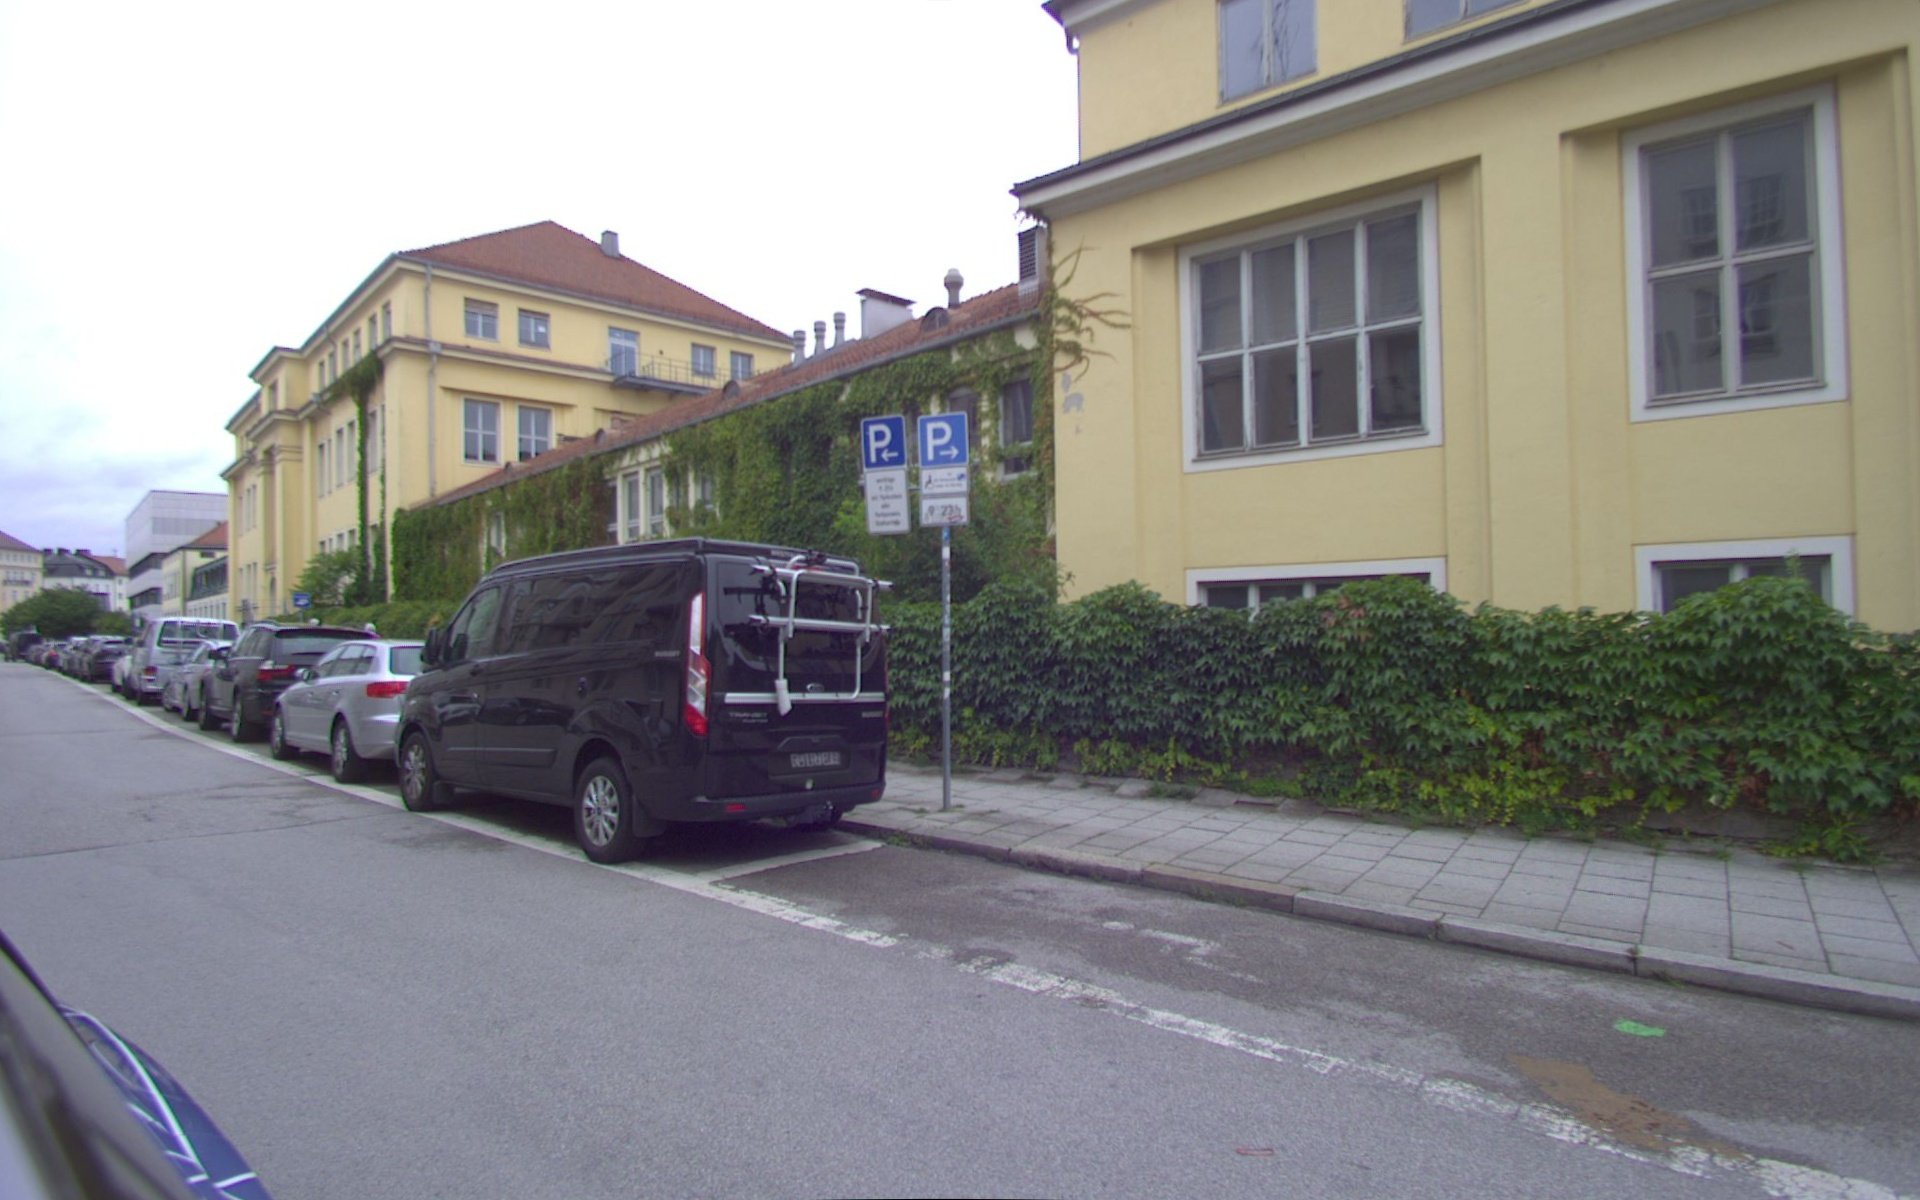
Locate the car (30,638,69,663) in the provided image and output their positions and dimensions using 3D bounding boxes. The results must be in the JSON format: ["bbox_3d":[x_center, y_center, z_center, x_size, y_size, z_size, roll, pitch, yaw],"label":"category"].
[{"bbox_3d":[-61.158,3.393,67.977,1.748,1.567,4.213,5,-5,-43],"label":"car"}]

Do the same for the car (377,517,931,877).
[{"bbox_3d":[-2.575,0.668,7.875,4.619,1.994,1.905,-3,-5,41],"label":"car"}]

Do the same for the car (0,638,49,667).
[{"bbox_3d":[-86.985,4.848,93.865,6.887,2.571,2.811,-3,-3,40],"label":"car"}]

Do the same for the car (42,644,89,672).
[{"bbox_3d":[-48.321,3.128,54.646,1.713,1.450,3.782,5,-5,-43],"label":"car"}]

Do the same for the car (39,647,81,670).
[{"bbox_3d":[-57.001,3.701,64.092,1.790,1.408,4.023,4,-5,-43],"label":"car"}]

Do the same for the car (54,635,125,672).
[{"bbox_3d":[-36.277,2.239,42.126,4.602,1.419,1.753,-3,-6,44],"label":"car"}]

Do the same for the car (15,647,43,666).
[{"bbox_3d":[-79.002,4.780,85.848,1.650,1.529,3.950,2,-4,-44],"label":"car"}]

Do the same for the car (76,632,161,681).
[{"bbox_3d":[-28.188,1.886,33.872,4.222,1.492,1.697,-3,-7,45],"label":"car"}]

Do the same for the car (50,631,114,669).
[{"bbox_3d":[-41.277,2.354,47.543,4.301,1.653,1.762,-3,-6,44],"label":"car"}]

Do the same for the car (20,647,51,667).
[{"bbox_3d":[-71.394,4.390,78.128,1.650,1.529,3.950,2,-4,-44],"label":"car"}]

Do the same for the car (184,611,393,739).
[{"bbox_3d":[-10.131,1.087,15.120,1.682,1.619,4.493,5,-6,-45],"label":"car"}]

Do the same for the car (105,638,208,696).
[{"bbox_3d":[-21.079,1.755,26.518,3.560,1.420,1.647,-3,-6,45],"label":"car"}]

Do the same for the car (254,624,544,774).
[{"bbox_3d":[-6.394,1.056,11.343,4.002,1.376,1.687,-3,-7,44],"label":"car"}]

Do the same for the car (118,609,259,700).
[{"bbox_3d":[-17.531,1.259,22.890,1.871,1.812,4.884,7,-7,-43],"label":"car"}]

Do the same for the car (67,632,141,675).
[{"bbox_3d":[-31.970,2.019,37.757,1.749,1.514,4.276,4,-5,-44],"label":"car"}]

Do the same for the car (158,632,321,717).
[{"bbox_3d":[-13.593,1.372,18.990,1.782,1.388,4.494,7,-7,-43],"label":"car"}]

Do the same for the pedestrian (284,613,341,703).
[{"bbox_3d":[-13.180,1.168,20.591,0.833,1.768,0.873,1,-3,-43],"label":"pedestrian"}]

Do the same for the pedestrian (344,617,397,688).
[{"bbox_3d":[-12.883,1.129,22.112,0.833,1.506,0.873,1,-3,-43],"label":"pedestrian"}]
